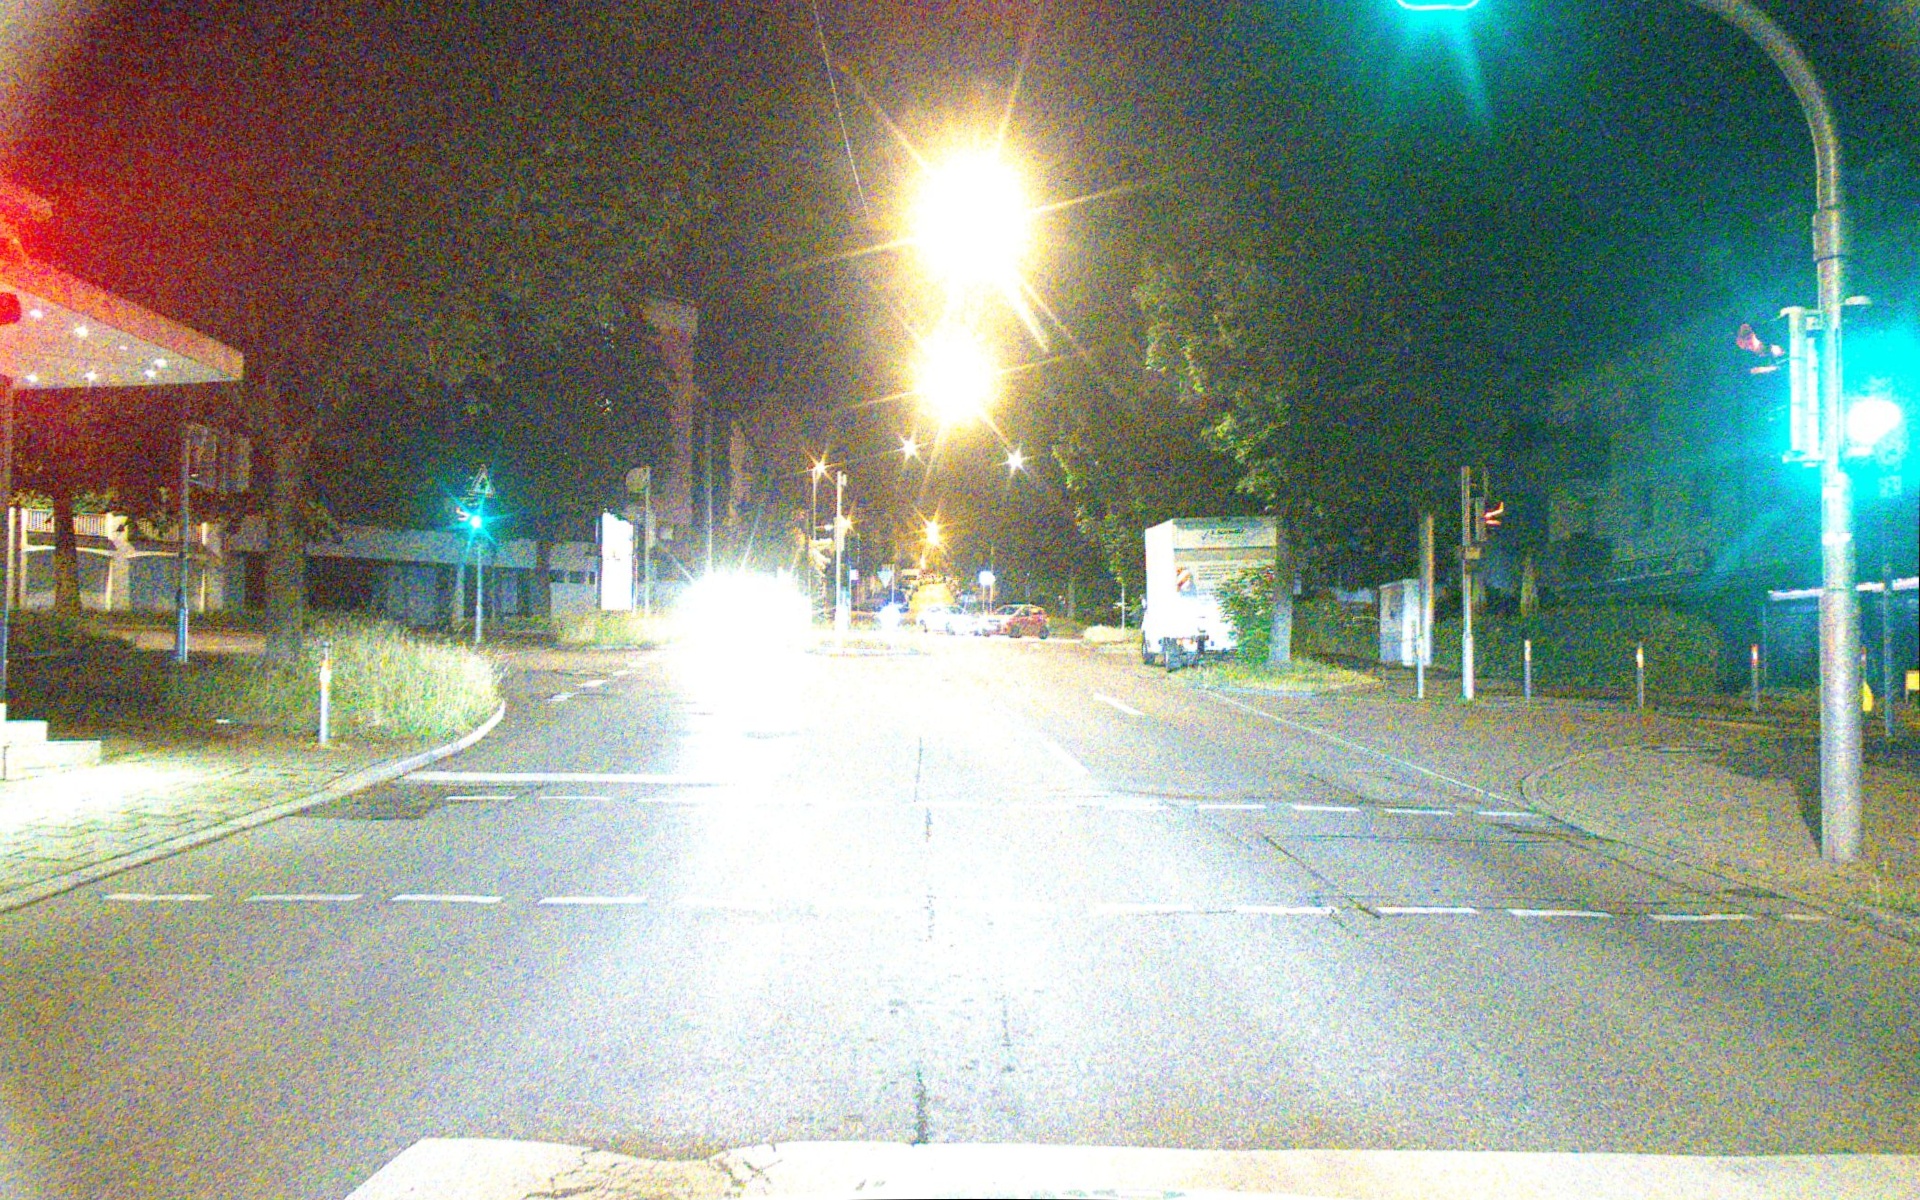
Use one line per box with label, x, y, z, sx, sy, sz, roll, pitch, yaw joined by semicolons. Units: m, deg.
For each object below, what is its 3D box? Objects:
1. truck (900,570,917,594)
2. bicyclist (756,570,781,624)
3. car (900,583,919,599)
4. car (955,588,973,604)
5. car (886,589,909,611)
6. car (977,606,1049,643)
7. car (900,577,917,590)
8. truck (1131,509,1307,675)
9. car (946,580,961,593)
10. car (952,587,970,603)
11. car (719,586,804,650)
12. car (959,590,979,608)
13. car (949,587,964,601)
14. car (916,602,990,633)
truck;-6.550;-2.294;210.201;2.045;2.897;5.828;1;0;-2
bicyclist;-6.011;-0.096;51.883;0.676;1.666;0.896;1;0;-1
car;-4.970;-0.889;161.196;1.779;1.517;3.998;1;0;-3
car;0.326;-0.361;153.798;1.601;1.477;3.484;1;0;-1
car;-5.065;0.009;135.141;1.778;1.713;3.999;1;0;-1
car;2.342;1.051;72.453;1.554;1.528;3.384;1;0;35
car;-5.856;-1.867;187.594;1.779;1.517;3.998;1;0;-3
truck;5.368;-0.170;35.281;2.693;3.165;6.258;1;0;0
car;-0.753;-1.540;192.180;1.601;1.477;3.484;1;0;-1
car;0.071;-0.457;159.978;1.601;1.477;3.484;1;0;-1
car;-5.096;0.440;42.950;1.820;1.561;4.026;1;0;-2
car;0.793;-0.107;144.070;1.601;1.477;3.484;1;0;-1
car;-0.365;-0.668;179.214;1.601;1.477;3.484;1;0;-1
car;-0.374;0.857;81.526;1.893;1.413;4.545;1;0;-26
